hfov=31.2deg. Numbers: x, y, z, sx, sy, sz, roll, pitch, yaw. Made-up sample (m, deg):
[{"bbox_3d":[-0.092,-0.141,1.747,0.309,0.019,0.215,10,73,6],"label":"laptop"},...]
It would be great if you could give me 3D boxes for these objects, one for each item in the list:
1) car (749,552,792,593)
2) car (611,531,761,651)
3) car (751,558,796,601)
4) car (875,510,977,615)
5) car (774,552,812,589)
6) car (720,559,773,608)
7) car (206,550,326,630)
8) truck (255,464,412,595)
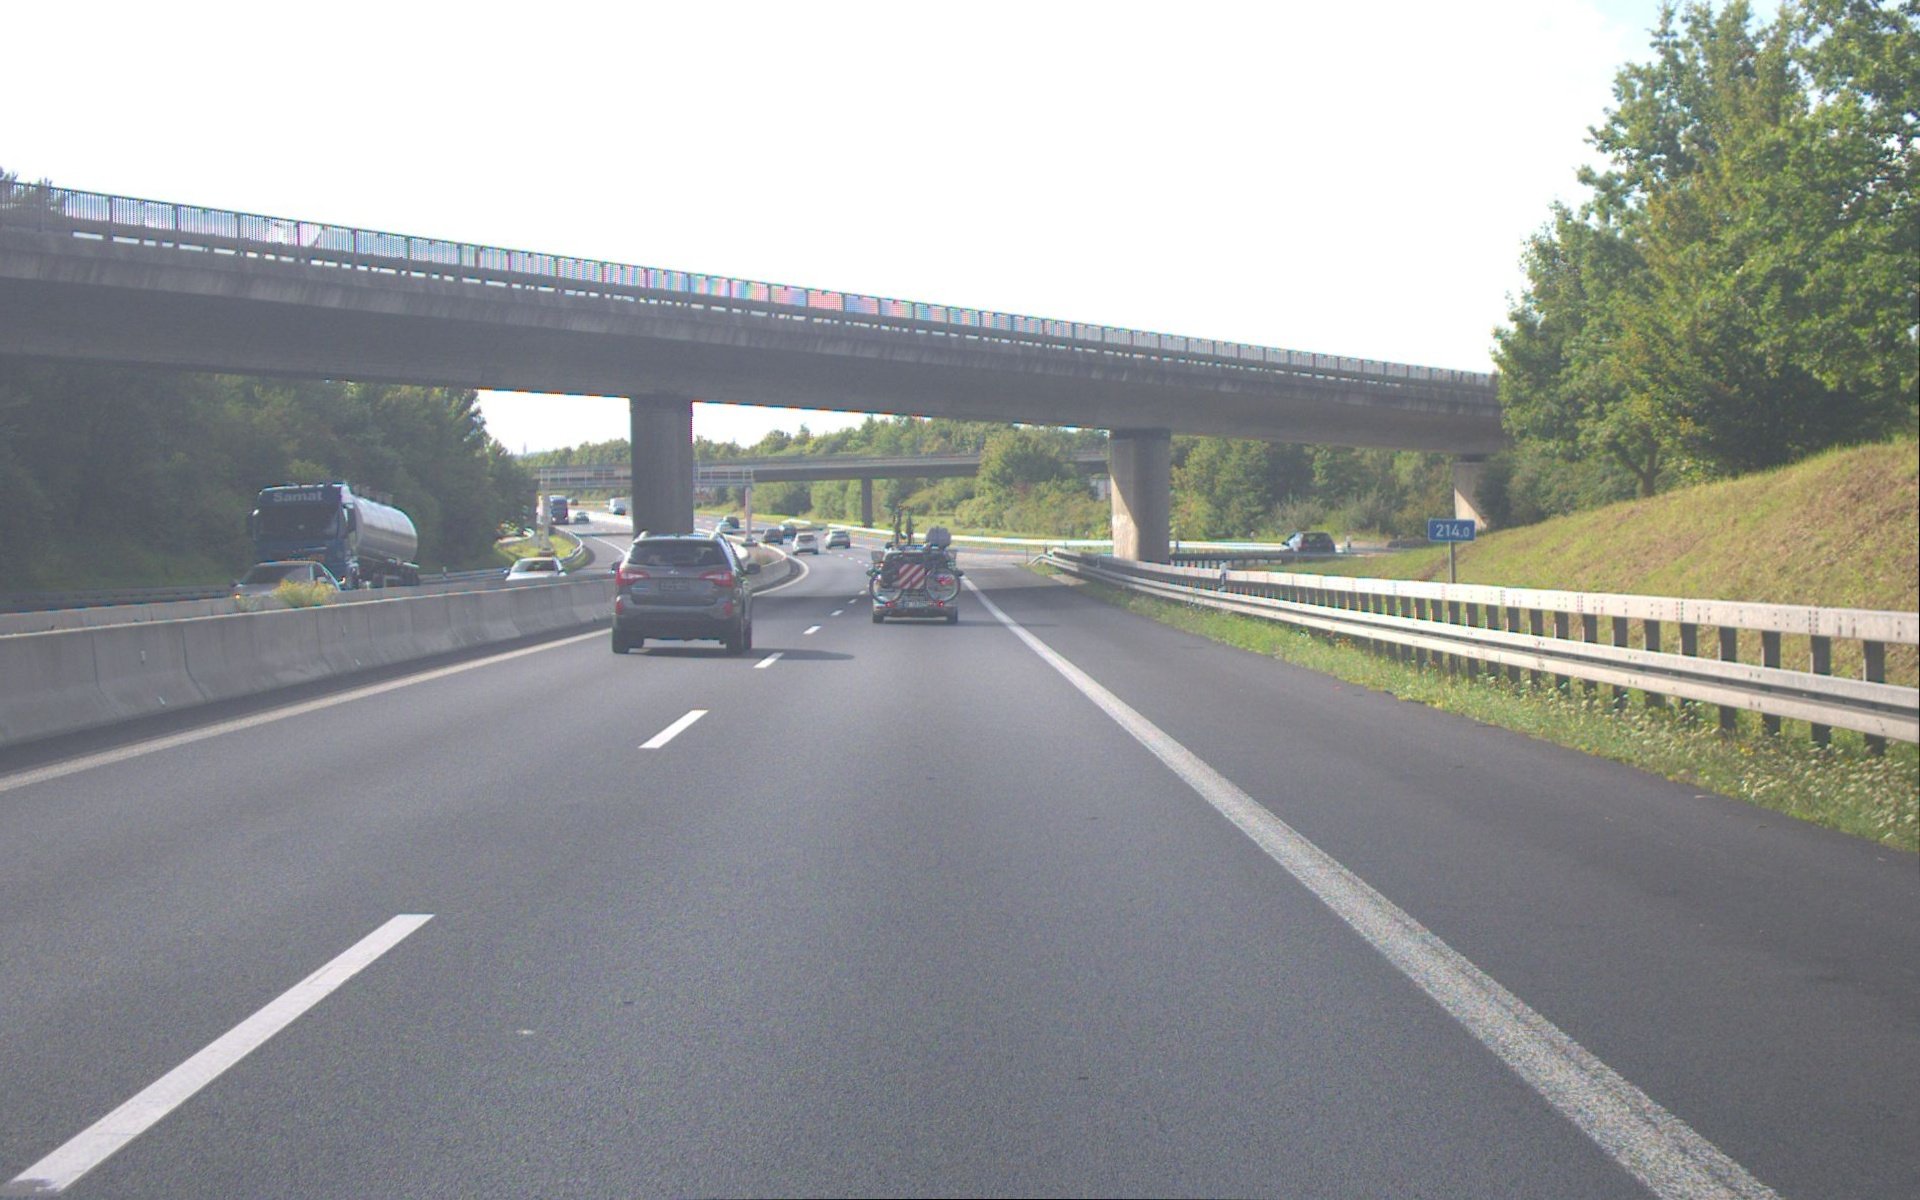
[{"bbox_3d":[-9.781,-1.435,177.999,1.993,2.007,4.000,-2,1,-1],"label":"car"},{"bbox_3d":[-3.906,-0.156,49.519,1.750,1.624,3.609,-2,1,1],"label":"car"},{"bbox_3d":[-9.098,-1.029,167.764,1.993,2.007,4.000,-2,1,-1],"label":"car"},{"bbox_3d":[-0.693,-0.789,71.437,1.993,2.073,4.000,-2,1,0],"label":"car"},{"bbox_3d":[-9.639,-1.706,198.201,1.993,2.007,4.000,-2,1,-1],"label":"car"},{"bbox_3d":[-9.084,-0.705,146.670,1.993,2.007,4.000,-2,1,-1],"label":"car"},{"bbox_3d":[-14.906,-0.238,74.028,1.750,1.624,3.609,-2,1,1],"label":"car"},{"bbox_3d":[-17.578,-1.975,97.052,2.676,3.434,9.829,-2,1,-1],"label":"truck"}]
